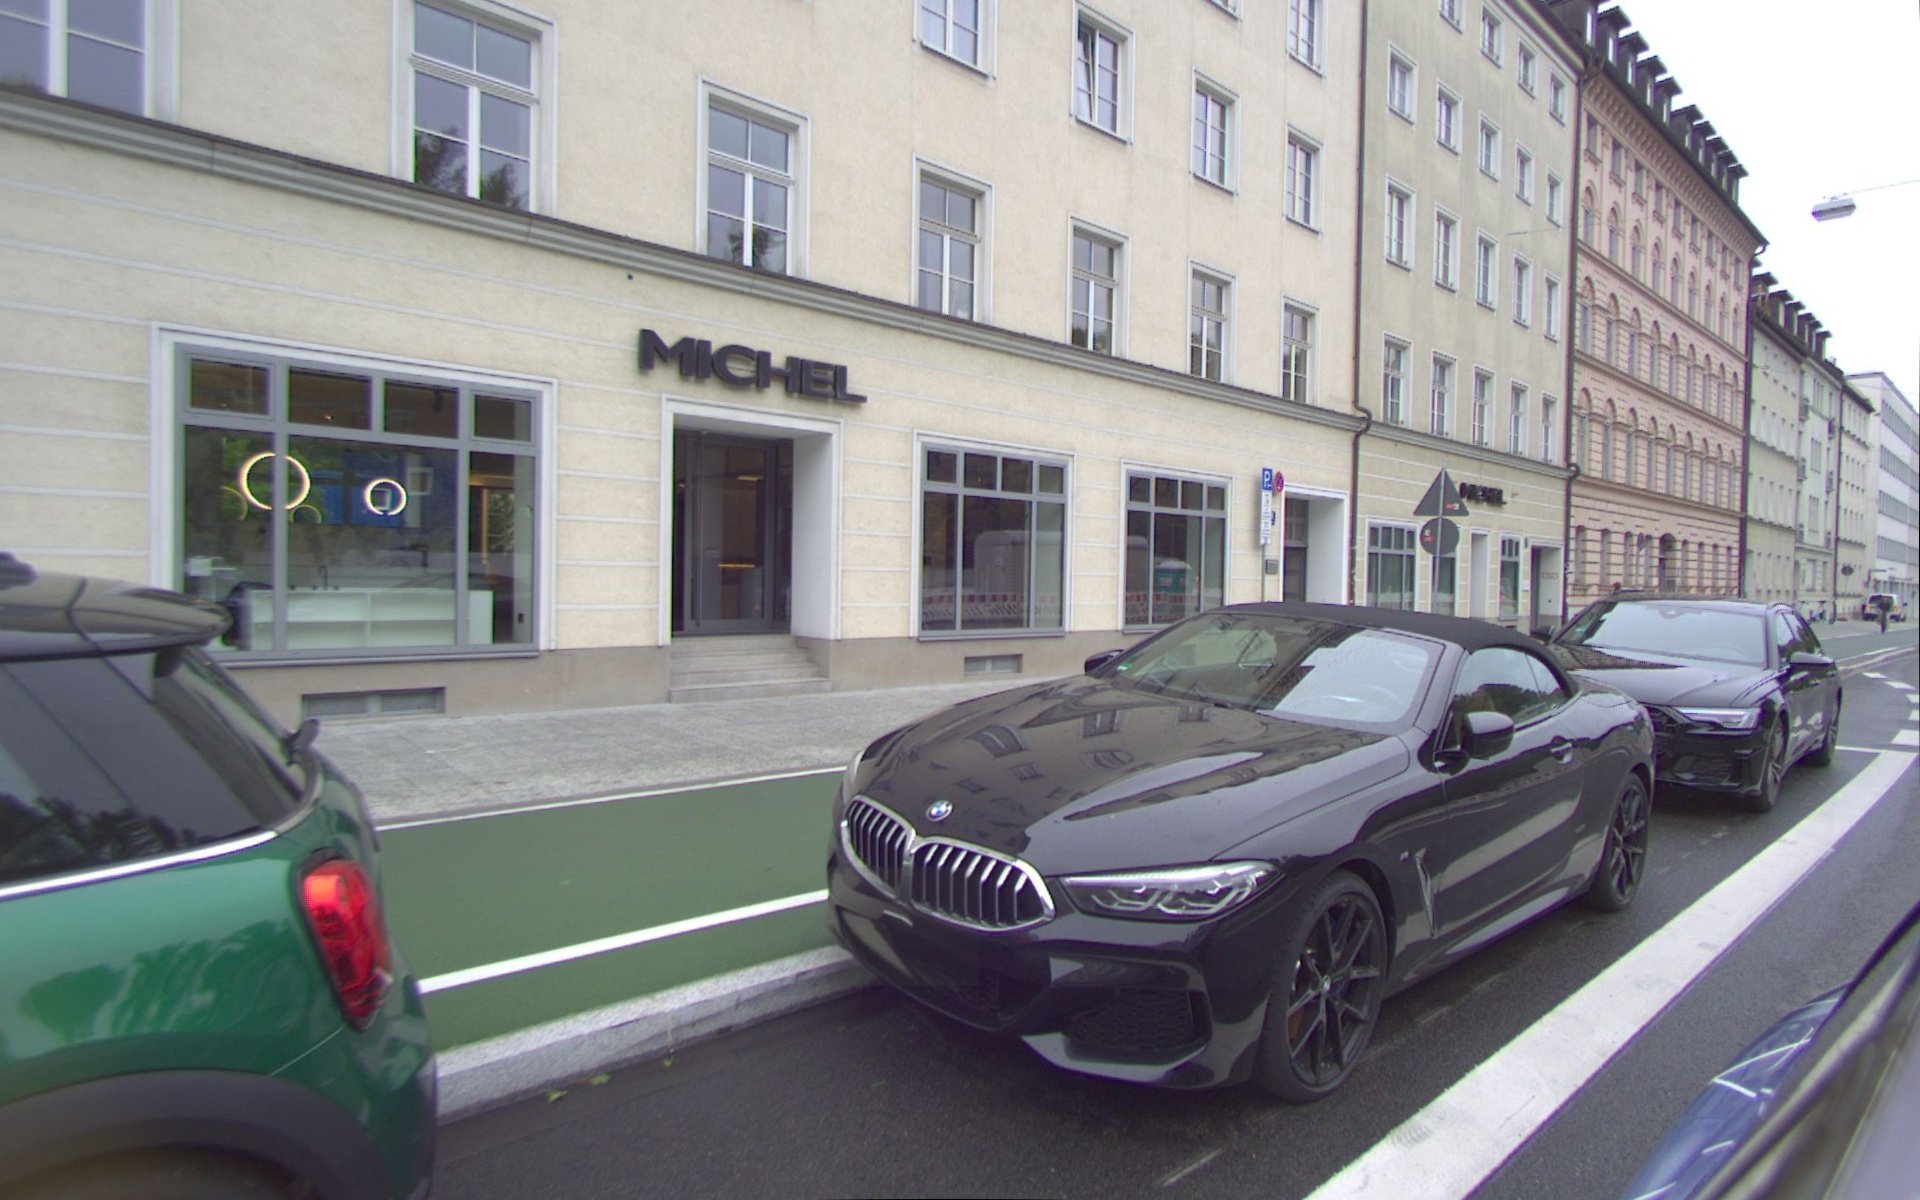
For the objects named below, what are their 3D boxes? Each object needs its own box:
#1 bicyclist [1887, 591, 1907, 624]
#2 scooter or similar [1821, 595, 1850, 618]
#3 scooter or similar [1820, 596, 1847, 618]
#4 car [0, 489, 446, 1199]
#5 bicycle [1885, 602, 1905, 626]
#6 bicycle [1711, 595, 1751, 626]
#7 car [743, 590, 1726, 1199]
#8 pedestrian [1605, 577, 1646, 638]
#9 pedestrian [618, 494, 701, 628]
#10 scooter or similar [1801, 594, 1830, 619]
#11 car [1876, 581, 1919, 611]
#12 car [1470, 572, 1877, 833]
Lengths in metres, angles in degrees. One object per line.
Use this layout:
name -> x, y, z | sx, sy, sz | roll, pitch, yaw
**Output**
bicyclist -> 43.590, 0.330, 47.099 | 0.630, 1.486, 0.643 | 2, 1, 42
scooter or similar -> 47.951, 0.370, 55.421 | 1.063, 1.207, 0.451 | 2, 1, 20
scooter or similar -> 48.756, 0.375, 56.498 | 1.059, 1.207, 0.436 | 1, 1, 10
car -> -2.823, 0.618, 1.109 | 3.761, 1.540, 1.678 | 0, 0, -40
bicycle -> 43.522, 0.635, 47.137 | 0.630, 1.050, 1.987 | 2, 2, 42
bicycle -> 30.684, 0.407, 40.273 | 1.690, 1.191, 0.558 | 1, 1, -27
car -> 1.578, 0.682, 4.400 | 4.636, 1.425, 1.829 | 0, 0, -40
pedestrian -> 19.838, 0.220, 30.150 | 0.819, 1.767, 0.795 | 0, 1, -41
pedestrian -> -4.019, -0.517, 13.518 | 0.767, 1.710, 0.861 | 0, 2, -39
scooter or similar -> 44.295, 0.331, 52.419 | 1.055, 1.261, 0.554 | 1, 1, -6
car -> 61.516, -0.280, 66.342 | 3.931, 1.855, 1.764 | 0, 1, -42
car -> 6.114, 0.621, 8.451 | 4.387, 1.498, 1.812 | 0, 5, -43
